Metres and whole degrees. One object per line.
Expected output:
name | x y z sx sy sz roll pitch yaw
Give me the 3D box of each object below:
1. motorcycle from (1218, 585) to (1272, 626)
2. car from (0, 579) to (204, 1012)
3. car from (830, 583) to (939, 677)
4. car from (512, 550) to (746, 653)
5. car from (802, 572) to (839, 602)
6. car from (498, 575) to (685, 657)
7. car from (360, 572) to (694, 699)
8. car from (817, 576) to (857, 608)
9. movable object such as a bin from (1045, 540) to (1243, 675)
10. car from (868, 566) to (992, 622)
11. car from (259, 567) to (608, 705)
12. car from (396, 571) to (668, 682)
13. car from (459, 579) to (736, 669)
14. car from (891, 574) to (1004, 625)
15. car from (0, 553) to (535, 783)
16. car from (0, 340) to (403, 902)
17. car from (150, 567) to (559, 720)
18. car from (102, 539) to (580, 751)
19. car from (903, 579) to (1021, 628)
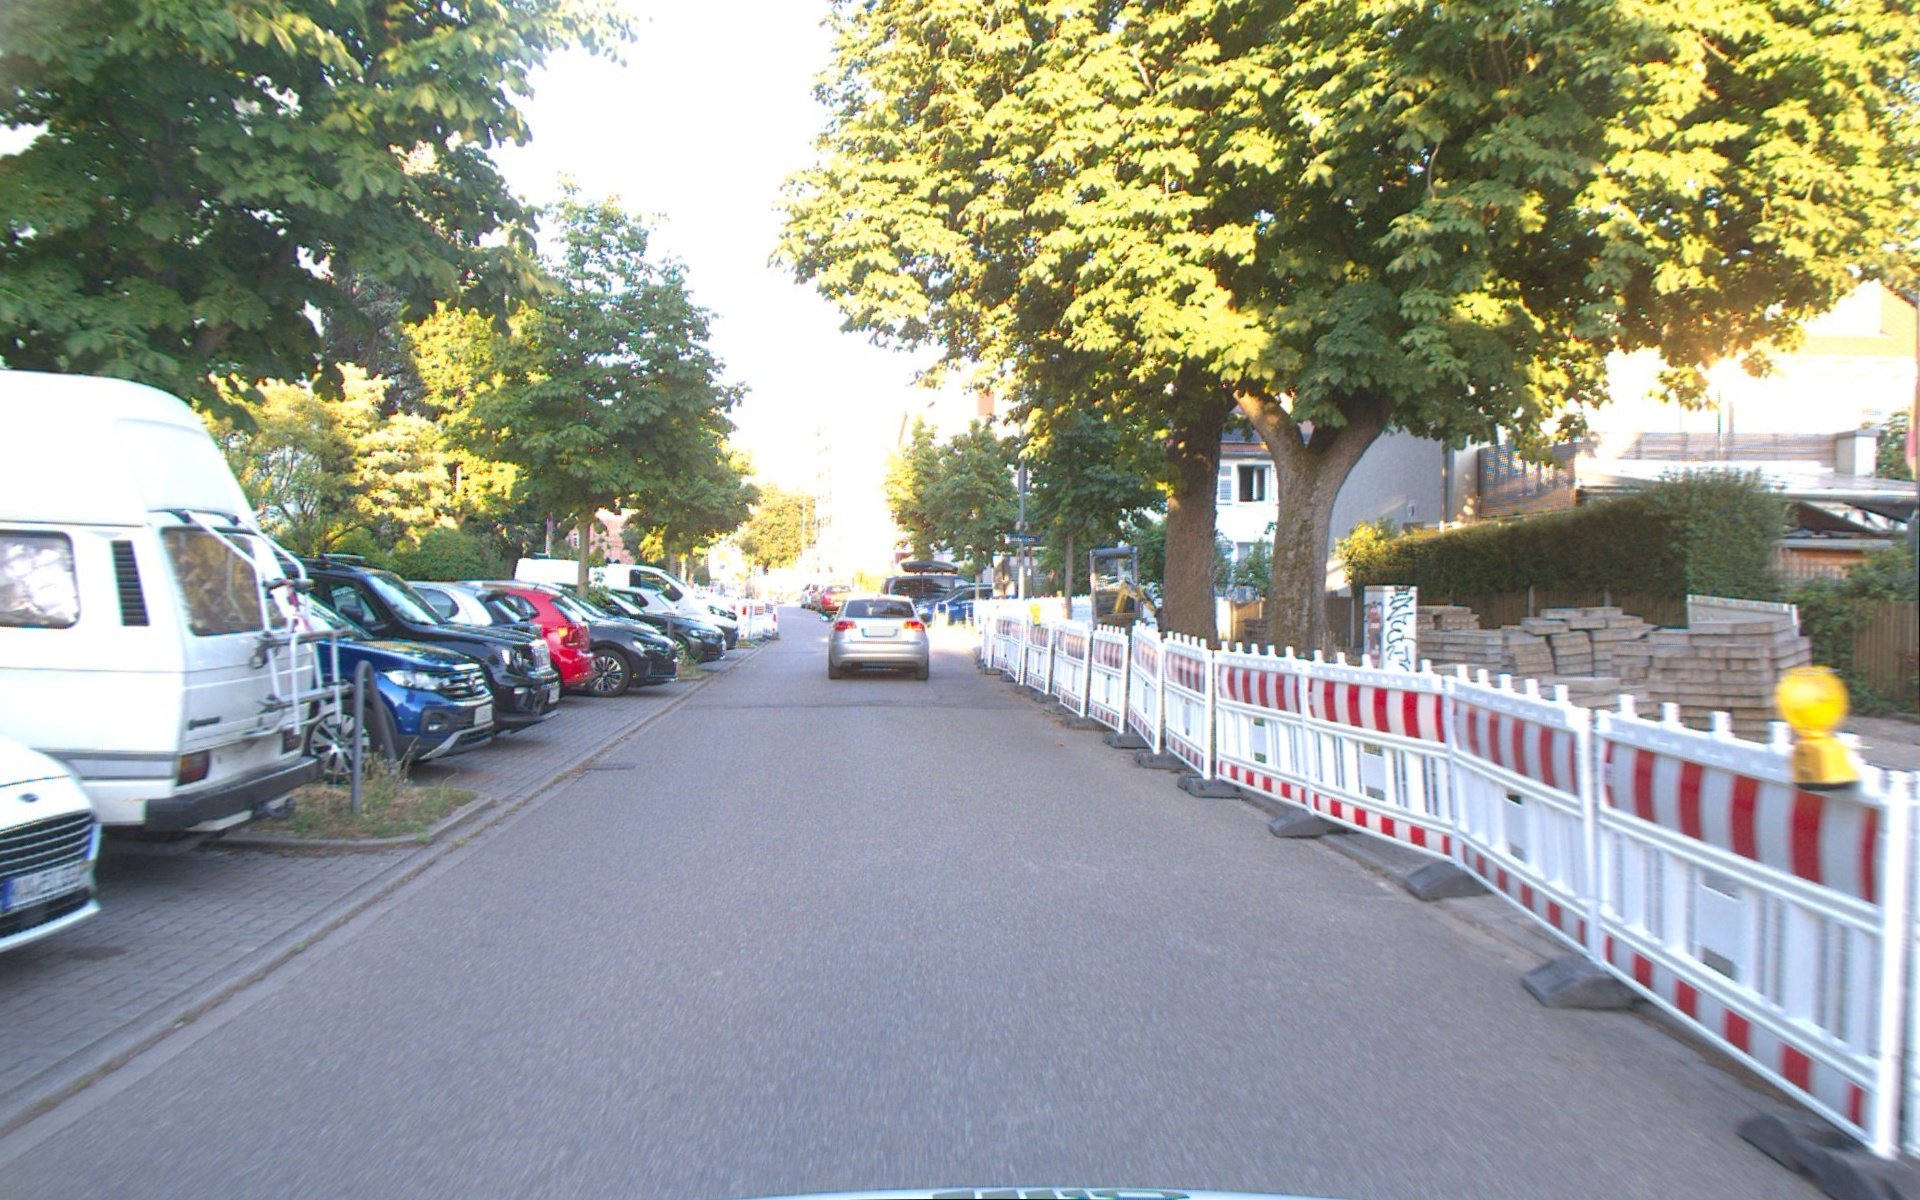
motorcycle | 7.995 0.150 46.346 0.571 1.125 1.835 2 1 43
car | -5.313 0.623 6.110 4.091 1.450 1.999 1 1 -3
car | -1.369 0.472 29.120 1.772 1.514 3.997 -1 1 -4
car | -6.994 0.022 35.405 4.679 2.049 1.998 1 1 -6
car | -7.790 -0.738 92.400 1.775 1.641 3.573 1 1 -9
car | -7.266 0.298 32.843 3.346 1.509 1.758 1 1 -3
car | -5.982 0.481 23.321 4.324 1.643 1.896 1 1 -9
car | -6.120 -0.410 81.927 1.698 1.509 3.550 1 1 -9
movable object such as a bin | 3.547 0.095 33.112 2.580 2.444 5.186 1 1 -10
car | -1.192 -0.231 64.567 4.478 2.058 2.094 1 1 -13
car | -6.573 0.432 20.996 3.910 1.611 1.729 1 1 -7
car | -6.602 0.394 25.905 3.913 1.606 1.798 1 1 -9
car | -6.502 0.431 30.103 4.679 1.496 1.879 1 0 -5
car | -0.497 -0.035 62.280 3.917 1.799 1.994 1 1 -13
car | -5.484 0.487 13.040 3.782 1.622 1.785 1 1 -2
car | -5.428 -0.011 8.393 4.412 2.473 1.999 3 1 -3
car | -6.566 0.453 18.311 3.911 1.551 1.787 1 1 -7
car | -5.696 0.388 15.595 3.782 1.808 1.843 1 1 -2
car | 0.061 0.114 59.744 3.921 1.680 1.758 1 1 -16
